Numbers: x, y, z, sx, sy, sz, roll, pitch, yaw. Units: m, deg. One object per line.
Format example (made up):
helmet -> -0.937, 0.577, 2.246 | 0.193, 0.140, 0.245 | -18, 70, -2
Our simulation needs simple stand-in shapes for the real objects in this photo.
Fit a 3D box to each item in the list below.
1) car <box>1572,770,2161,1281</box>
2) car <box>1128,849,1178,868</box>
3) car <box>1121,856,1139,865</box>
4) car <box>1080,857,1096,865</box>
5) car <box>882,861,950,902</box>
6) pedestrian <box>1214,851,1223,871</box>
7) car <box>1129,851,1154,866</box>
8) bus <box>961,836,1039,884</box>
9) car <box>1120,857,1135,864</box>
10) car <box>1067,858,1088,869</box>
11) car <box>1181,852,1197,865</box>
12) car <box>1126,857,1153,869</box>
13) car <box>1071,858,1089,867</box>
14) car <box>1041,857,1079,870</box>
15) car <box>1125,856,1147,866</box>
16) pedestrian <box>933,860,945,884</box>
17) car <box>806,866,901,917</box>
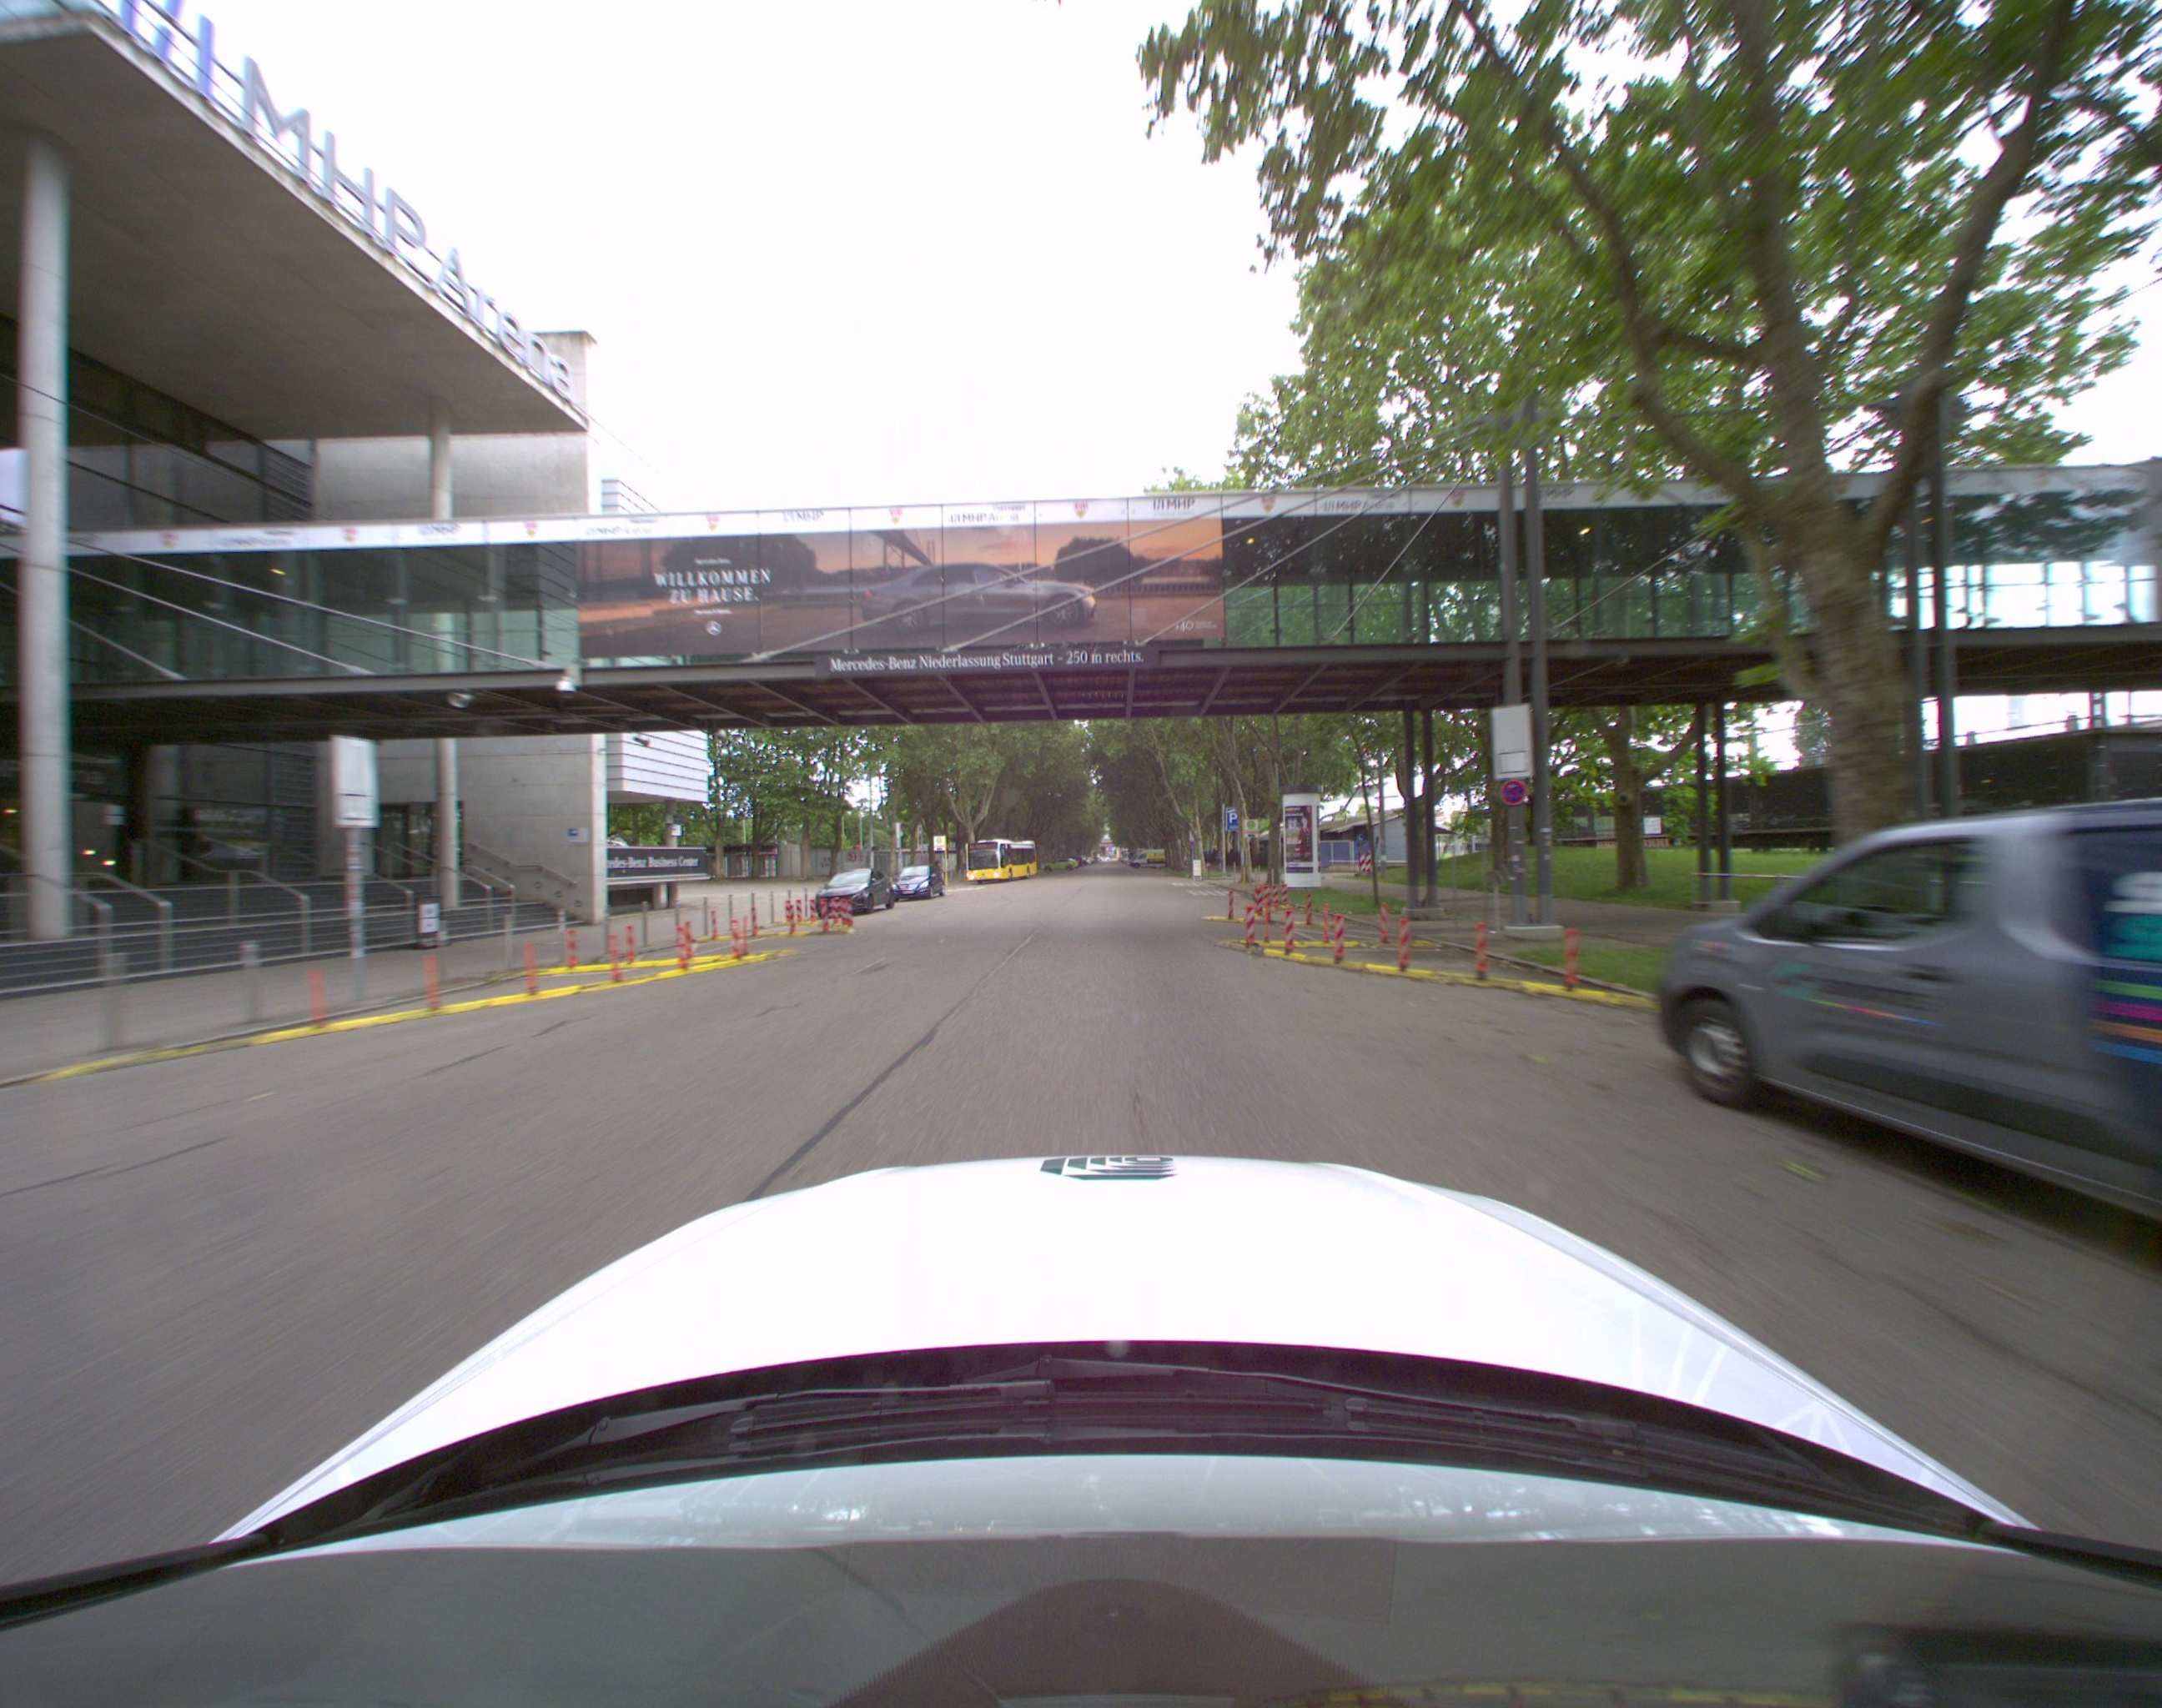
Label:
car -> 4.743, 0.602, 3.896 | 1.840, 1.783, 5.214 | 0, 0, 2
car -> 10.053, 0.616, 113.762 | 6.801, 2.513, 2.316 | -1, 0, 0
car -> 10.061, 1.346, 167.050 | 3.608, 1.794, 1.543 | -1, -1, 1
car -> 1.900, 1.891, 218.110 | 3.971, 1.970, 2.001 | -1, -1, 2
car -> -7.476, 1.216, 37.360 | 1.986, 1.584, 4.116 | -4, 0, 2
pedestrian -> 12.553, 0.637, 74.434 | 0.572, 1.888, 0.615 | -1, -1, -7
car -> 9.731, 0.754, 131.878 | 3.972, 2.339, 1.543 | -1, -1, 1
bus -> -5.931, 0.410, 62.612 | 3.022, 3.160, 12.703 | -3, 0, 7
car -> 12.302, 1.717, 217.590 | 3.971, 1.861, 1.638 | -1, -1, 2
car -> -0.607, 1.701, 147.962 | 3.643, 1.864, 1.627 | -1, -1, 5
car -> 15.753, 0.680, 119.010 | 1.985, 1.772, 4.002 | -1, 0, 2
car -> 8.692, 1.318, 121.253 | 3.972, 1.794, 1.543 | -1, -1, 1
car -> -0.184, 1.716, 167.111 | 3.643, 1.742, 1.509 | -1, -1, 5
car -> -2.725, 1.203, 104.191 | 4.681, 1.584, 1.866 | -1, -1, 3
car -> 10.295, 1.392, 152.466 | 3.972, 1.794, 1.543 | -1, -1, 1
pedestrian -> -9.733, 1.228, 55.800 | 0.670, 1.603, 0.606 | -1, -1, -23
car -> -7.956, 1.270, 28.974 | 1.851, 1.453, 4.451 | -4, 0, 2
